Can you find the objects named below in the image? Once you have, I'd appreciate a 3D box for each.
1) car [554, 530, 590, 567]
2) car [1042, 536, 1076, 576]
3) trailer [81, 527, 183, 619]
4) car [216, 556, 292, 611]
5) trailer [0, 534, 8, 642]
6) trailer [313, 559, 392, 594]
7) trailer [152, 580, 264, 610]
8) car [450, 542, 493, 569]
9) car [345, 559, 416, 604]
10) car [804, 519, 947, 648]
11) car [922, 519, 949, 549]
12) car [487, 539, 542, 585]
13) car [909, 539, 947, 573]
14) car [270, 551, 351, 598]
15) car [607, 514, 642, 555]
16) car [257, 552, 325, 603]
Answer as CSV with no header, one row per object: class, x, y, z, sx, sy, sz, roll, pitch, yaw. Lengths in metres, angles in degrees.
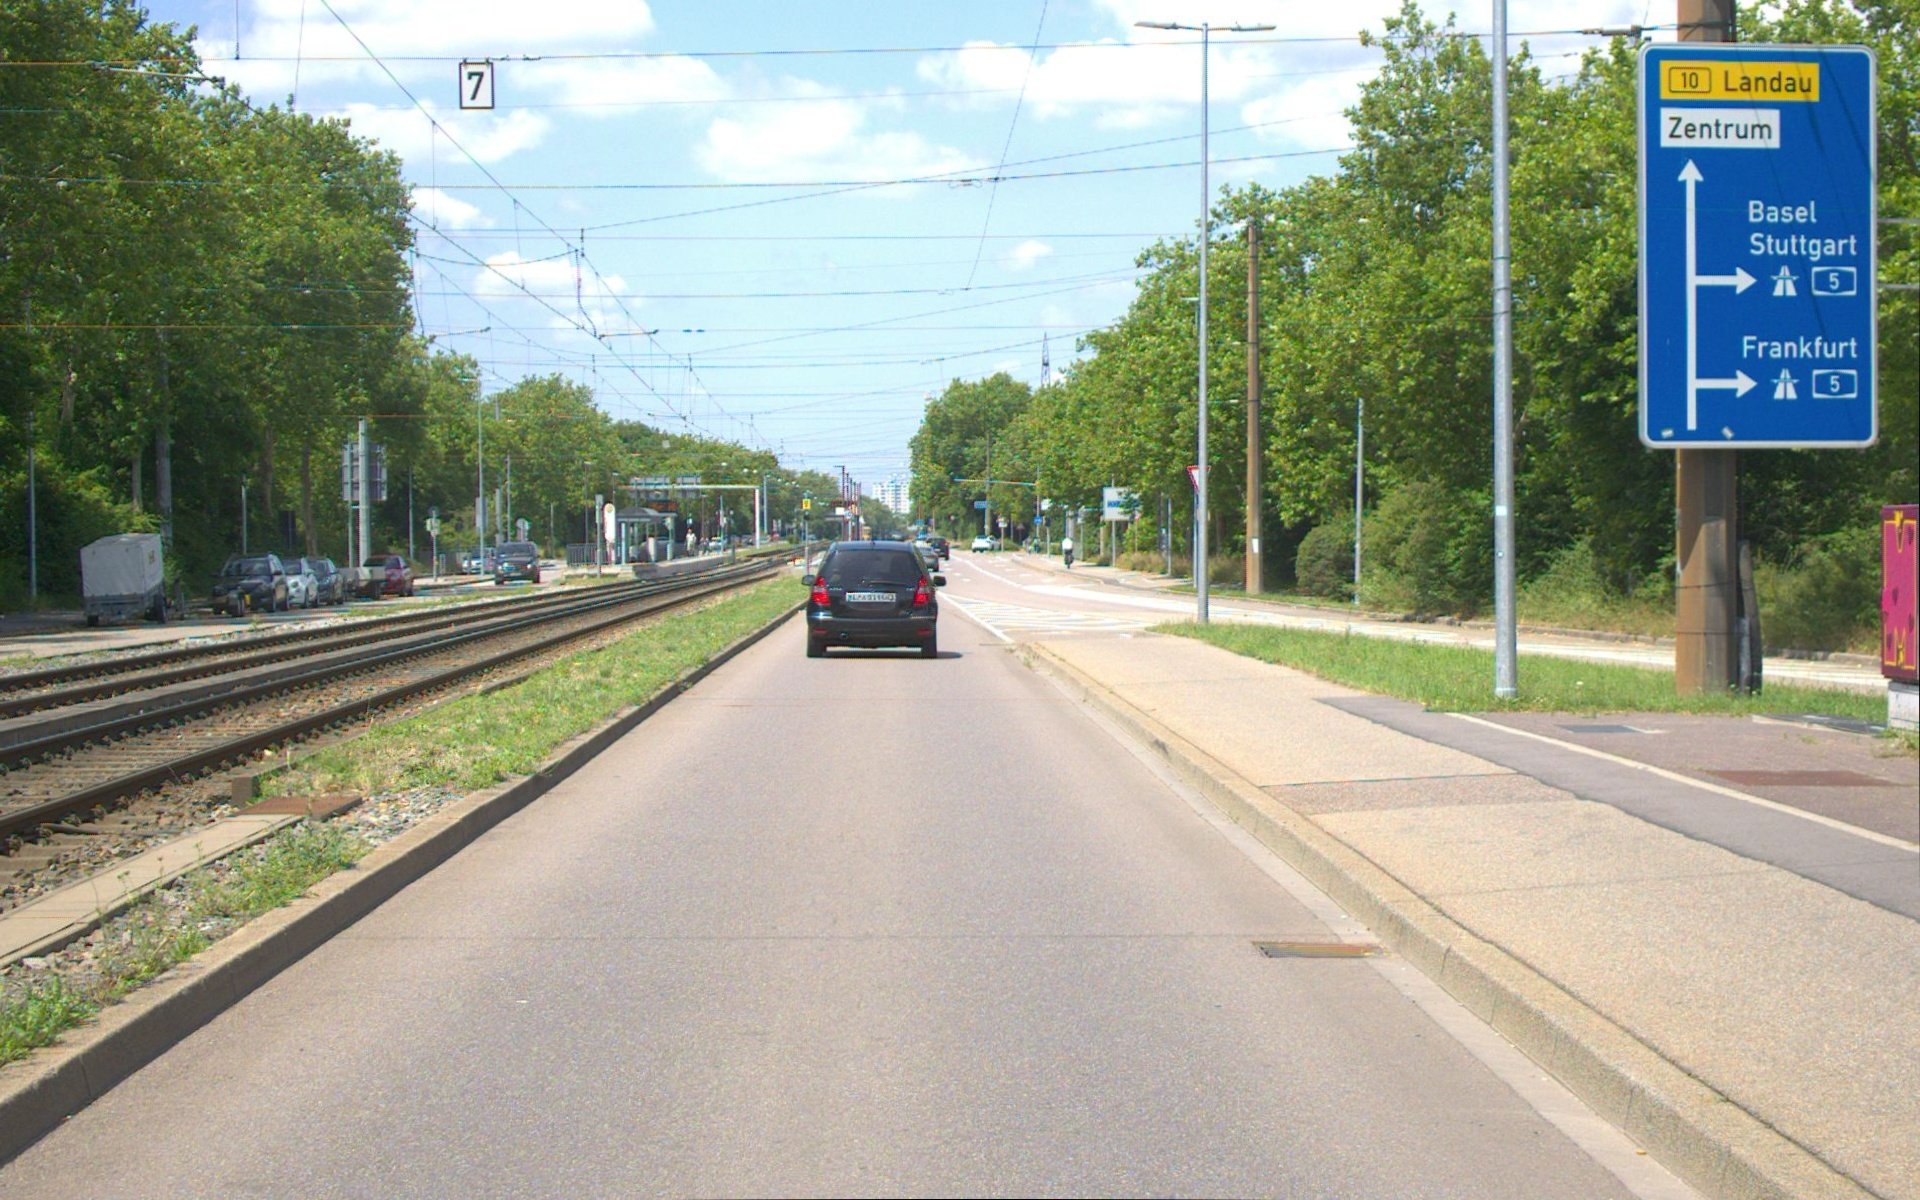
car,-22.467,-3.008,199.298,1.993,2.006,4.001,1,2,-5
car,5.377,-2.390,186.367,1.612,2.006,3.440,1,2,-2
trailer,-18.831,-0.645,78.334,1.609,2.007,3.917,1,1,-4
car,-19.190,-0.461,93.518,1.433,1.446,3.922,0,1,-3
trailer,-17.825,-0.182,57.900,2.461,1.882,5.963,0,1,-5
trailer,-20.147,-0.794,114.187,1.892,1.040,5.104,1,1,-2
trailer,-18.592,-0.124,85.117,1.993,0.740,4.000,0,0,-1
car,-28.344,-2.589,199.479,1.993,1.568,4.000,0,1,-1
car,-20.732,-0.684,123.121,1.993,1.568,4.000,0,1,-2
car,-1.124,-0.268,47.401,1.853,1.564,4.389,1,3,0
car,-1.735,-4.690,242.436,1.786,2.006,4.001,1,2,-1
car,-20.076,-1.734,155.134,1.993,2.007,4.000,-1,1,-1
car,-1.701,-2.341,182.219,1.885,1.634,4.001,3,2,0
car,-19.818,-0.788,105.023,1.870,1.396,4.419,0,1,-3
car,-17.392,-3.392,178.443,1.585,2.006,4.111,1,2,-3
car,-19.338,-0.667,99.478,1.433,1.446,3.741,0,1,-3
